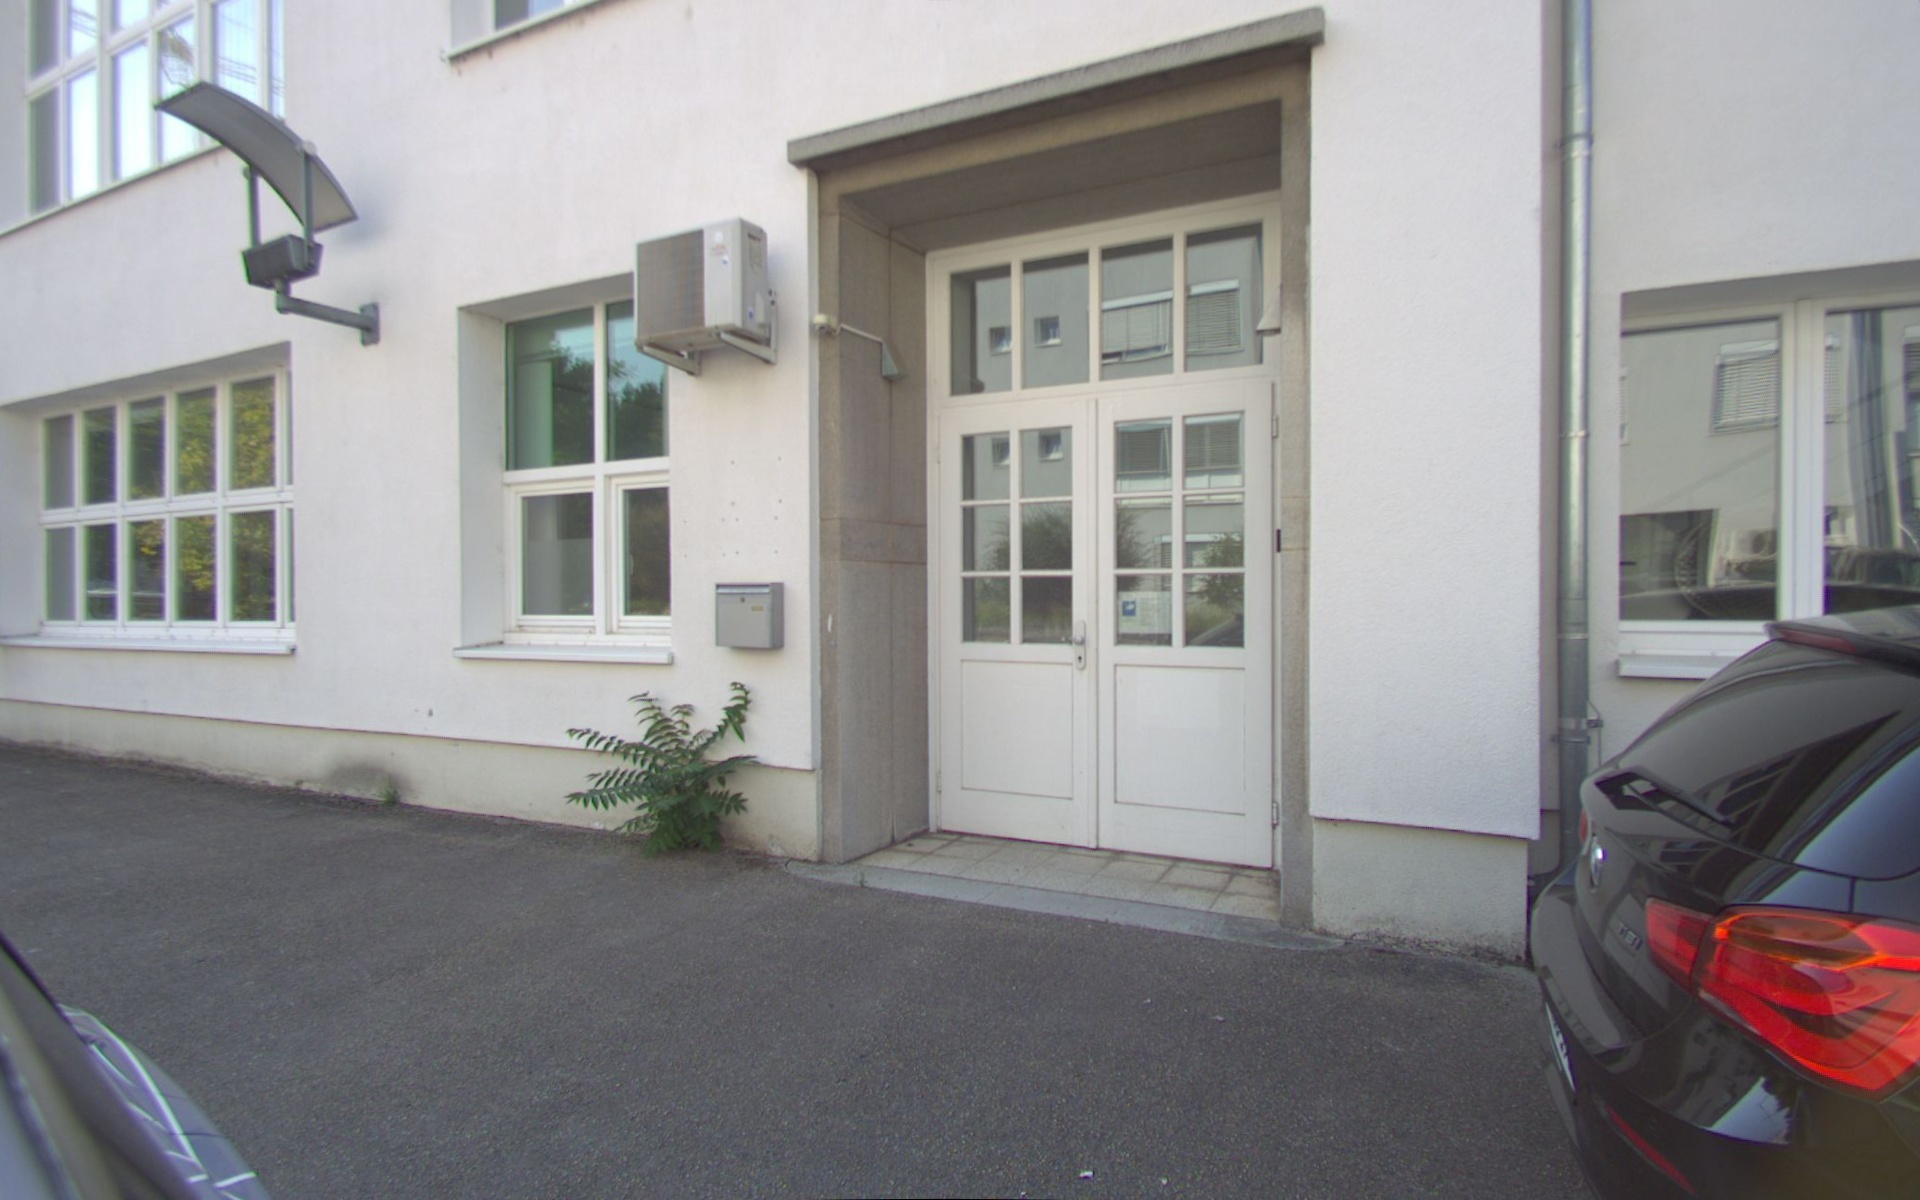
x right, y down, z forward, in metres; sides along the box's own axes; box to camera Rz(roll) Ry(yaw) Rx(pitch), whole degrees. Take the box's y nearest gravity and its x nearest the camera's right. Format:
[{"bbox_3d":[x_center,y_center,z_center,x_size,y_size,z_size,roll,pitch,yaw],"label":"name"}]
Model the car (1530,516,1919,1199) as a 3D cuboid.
[{"bbox_3d":[3.124,0.591,1.174,4.112,1.439,1.784,-1,1,25],"label":"car"}]
